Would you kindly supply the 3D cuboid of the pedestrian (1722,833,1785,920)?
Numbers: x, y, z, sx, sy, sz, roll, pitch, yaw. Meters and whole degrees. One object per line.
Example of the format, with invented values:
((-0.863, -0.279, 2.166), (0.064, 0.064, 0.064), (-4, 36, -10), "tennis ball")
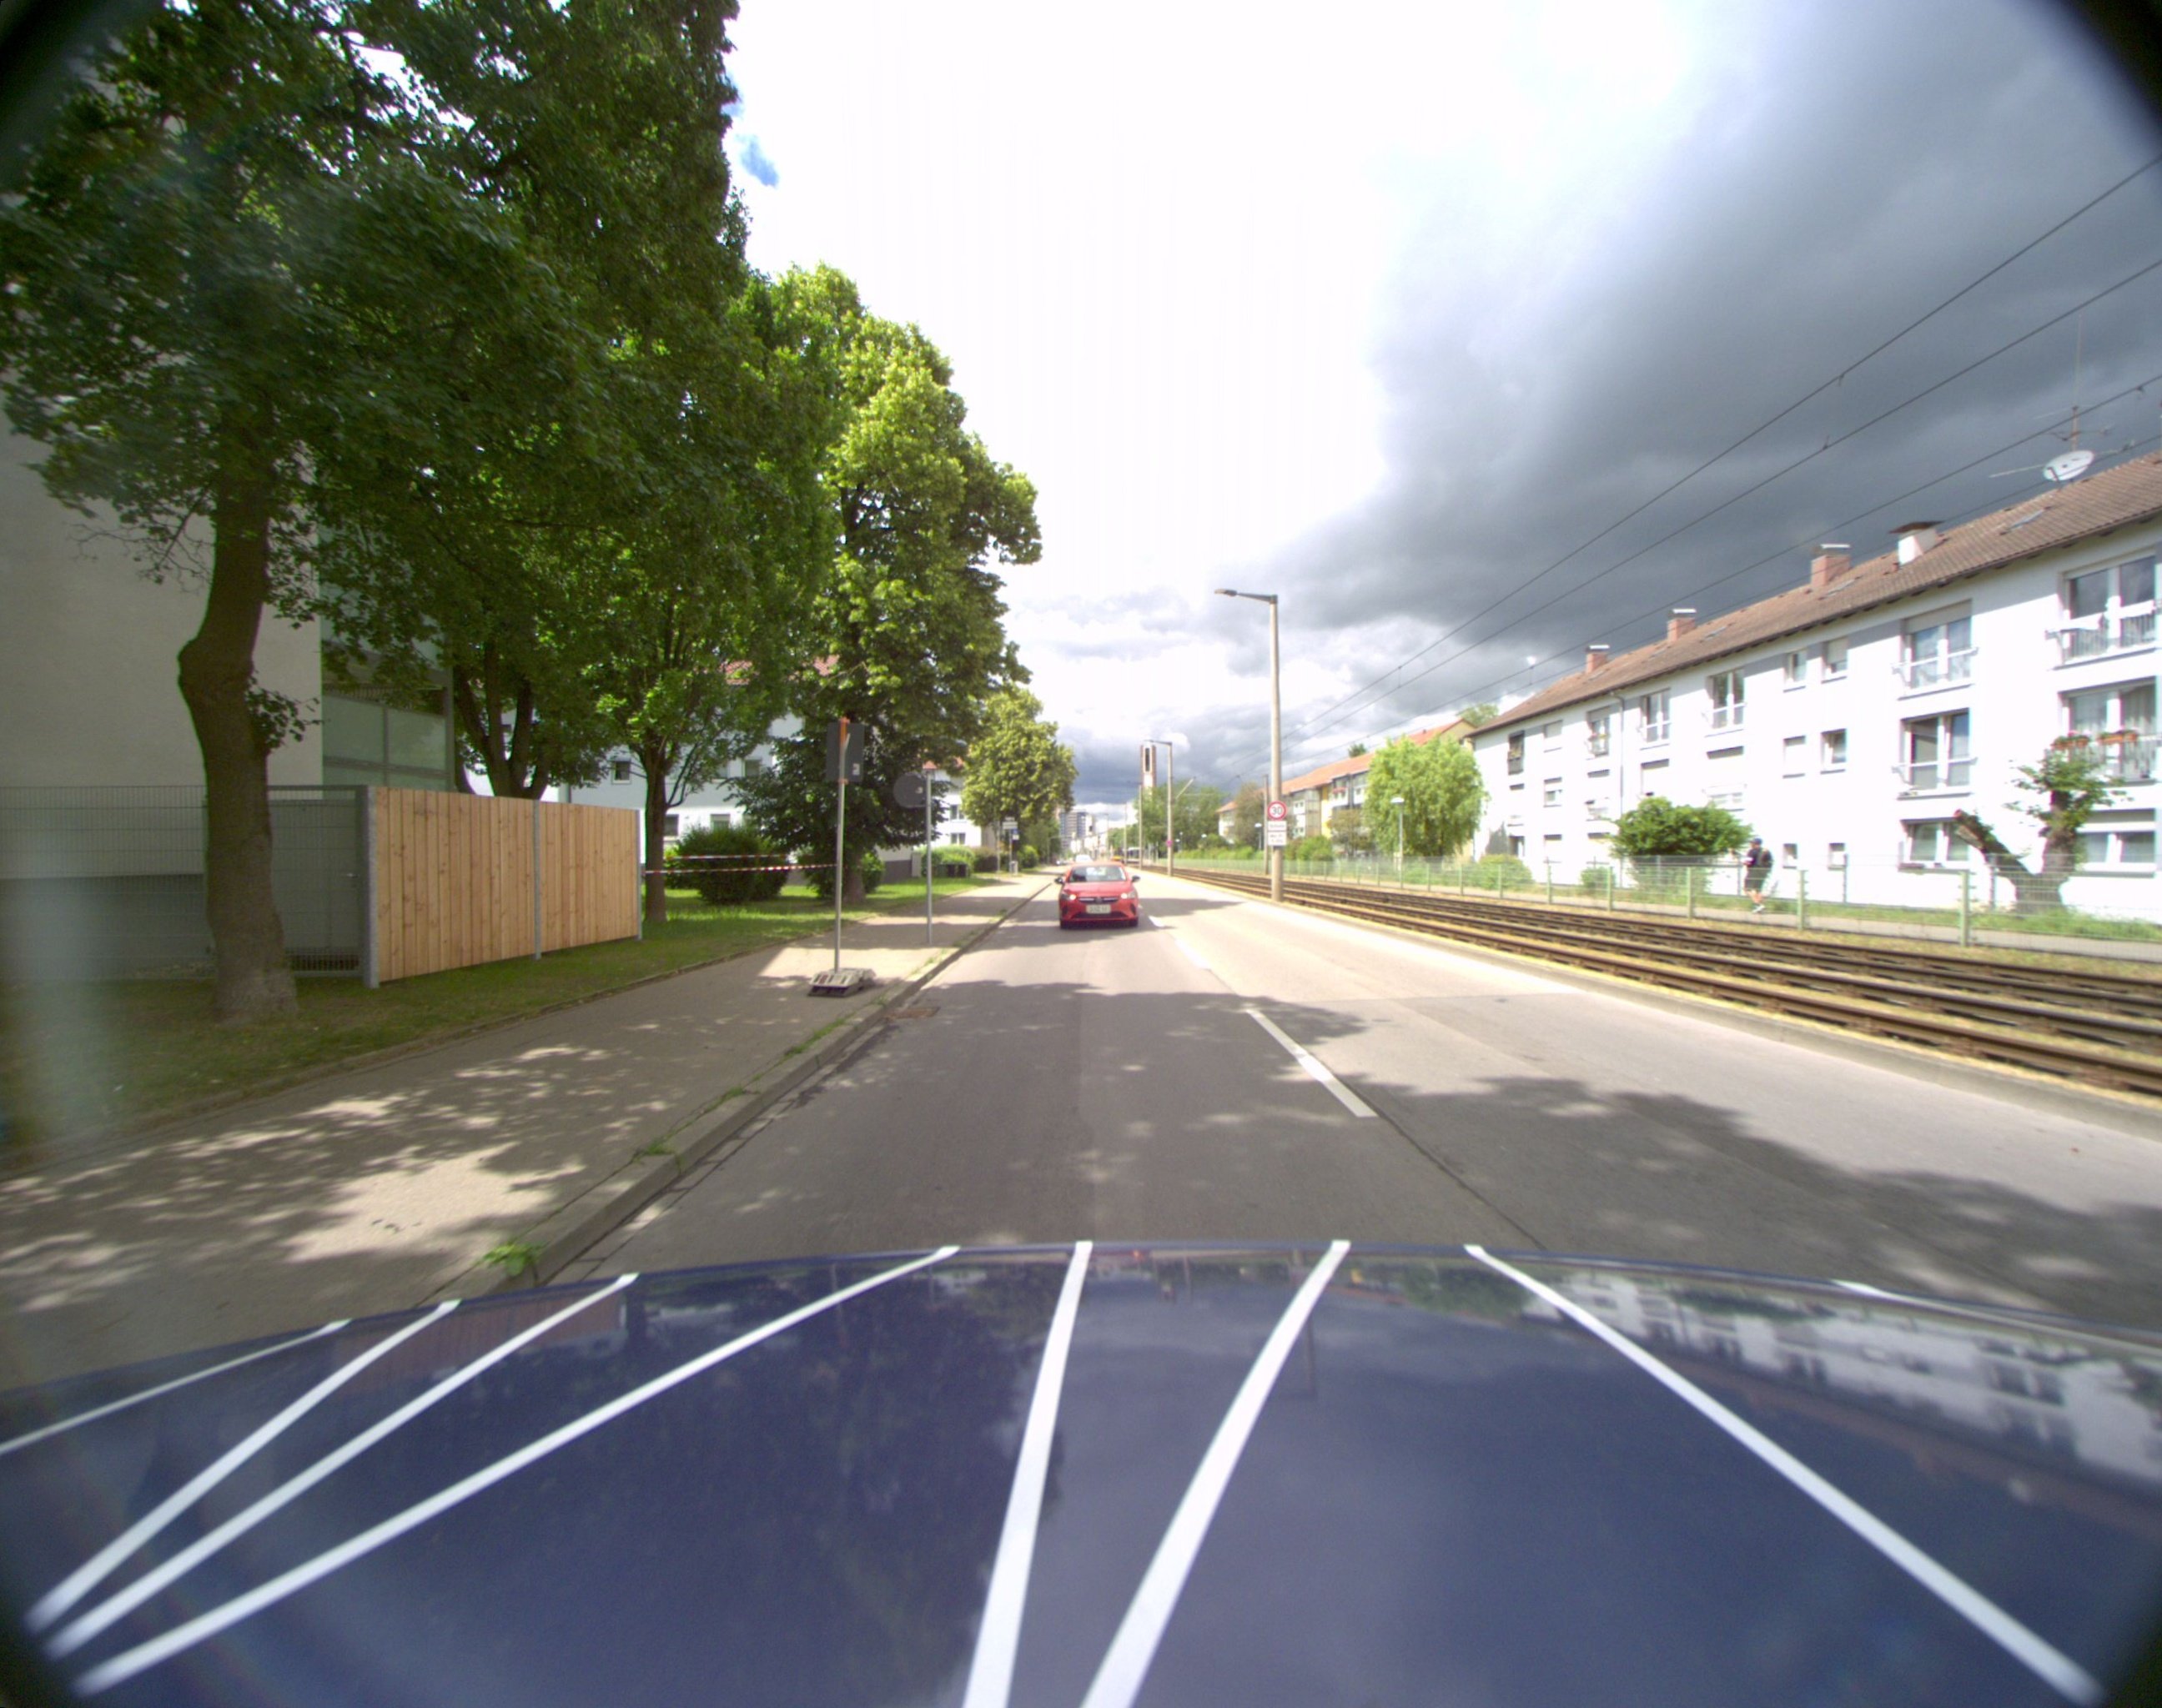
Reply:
((14.672, 0.483, 16.585), (0.661, 1.838, 0.768), (1, 0, 1), "pedestrian")

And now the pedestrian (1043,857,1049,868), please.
((-6.124, 1.494, 132.750), (0.811, 1.761, 0.817), (2, 1, 5), "pedestrian")

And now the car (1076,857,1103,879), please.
((0.608, 0.929, 52.162), (1.756, 1.433, 4.226), (-1, 0, 1), "car")

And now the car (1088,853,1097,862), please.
((2.192, 0.667, 140.731), (1.628, 1.516, 3.581), (-1, 0, 0), "car")

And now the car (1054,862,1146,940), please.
((0.395, 0.929, 16.846), (1.756, 1.433, 4.226), (-1, 0, 1), "car")

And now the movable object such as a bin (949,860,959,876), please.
((-7.513, 0.832, 45.057), (0.501, 0.941, 0.551), (1, 0, 1), "movable object such as a bin")

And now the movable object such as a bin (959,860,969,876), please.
((-6.947, 0.838, 45.059), (0.497, 0.949, 0.580), (1, 0, 1), "movable object such as a bin")

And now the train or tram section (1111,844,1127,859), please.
((10.269, -0.555, 207.951), (2.988, 3.840, 18.535), (-2, 0, -1), "train or tram section")

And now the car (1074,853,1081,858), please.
((-1.118, 0.608, 241.976), (1.765, 1.543, 3.999), (-1, 0, -3), "car")
